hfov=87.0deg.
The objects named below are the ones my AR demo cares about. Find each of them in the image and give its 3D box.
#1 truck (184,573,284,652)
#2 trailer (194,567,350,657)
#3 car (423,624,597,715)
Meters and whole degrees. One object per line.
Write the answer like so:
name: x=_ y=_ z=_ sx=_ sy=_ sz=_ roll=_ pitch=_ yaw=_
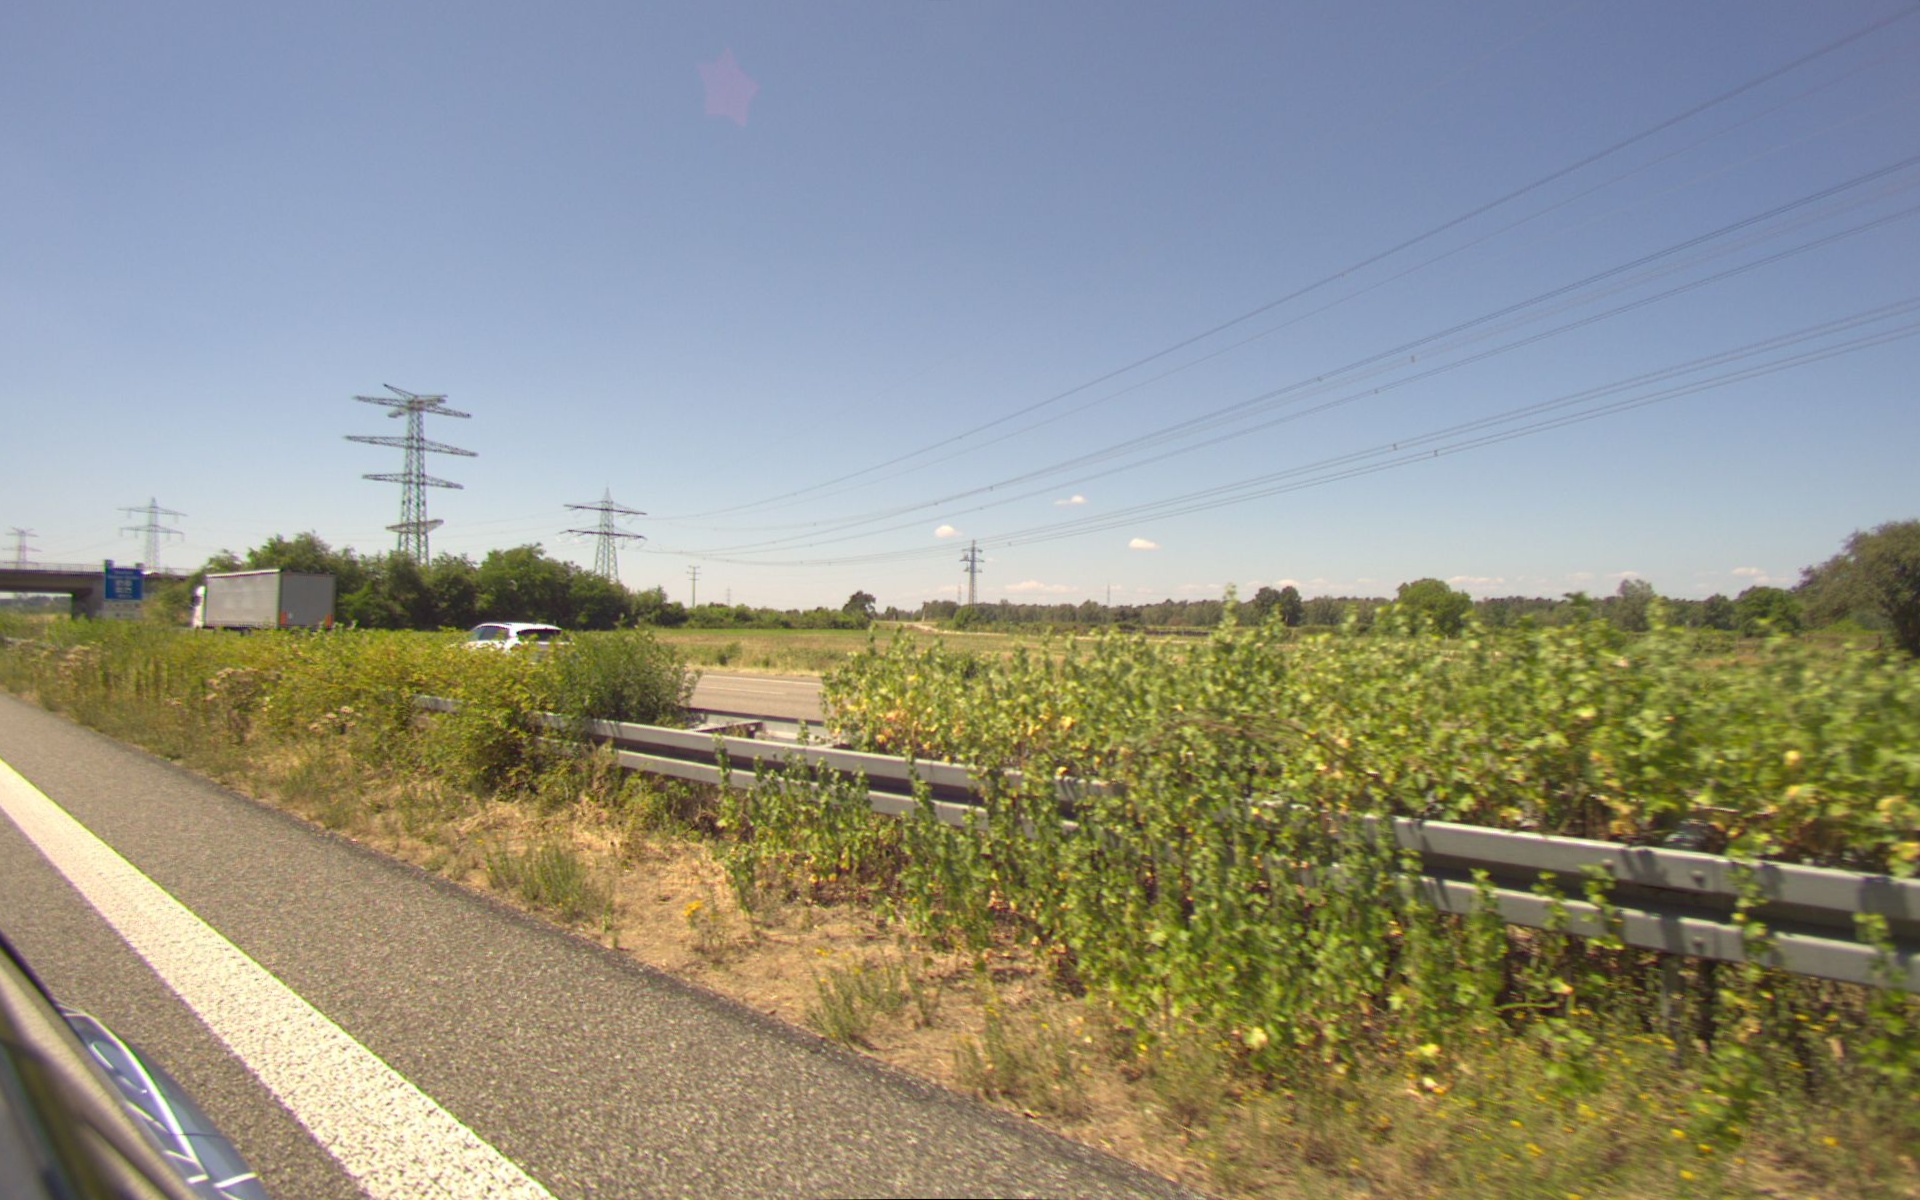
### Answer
truck: x=-43.386 y=0.798 z=60.416 sx=6.553 sy=4.442 sz=3.333 roll=-1 pitch=-3 yaw=41
trailer: x=-38.319 y=0.754 z=56.022 sx=14.310 sy=4.442 sz=3.333 roll=-1 pitch=-4 yaw=41
car: x=-10.842 y=1.578 z=24.235 sx=4.723 sy=1.958 sz=1.973 roll=-1 pitch=-3 yaw=41
